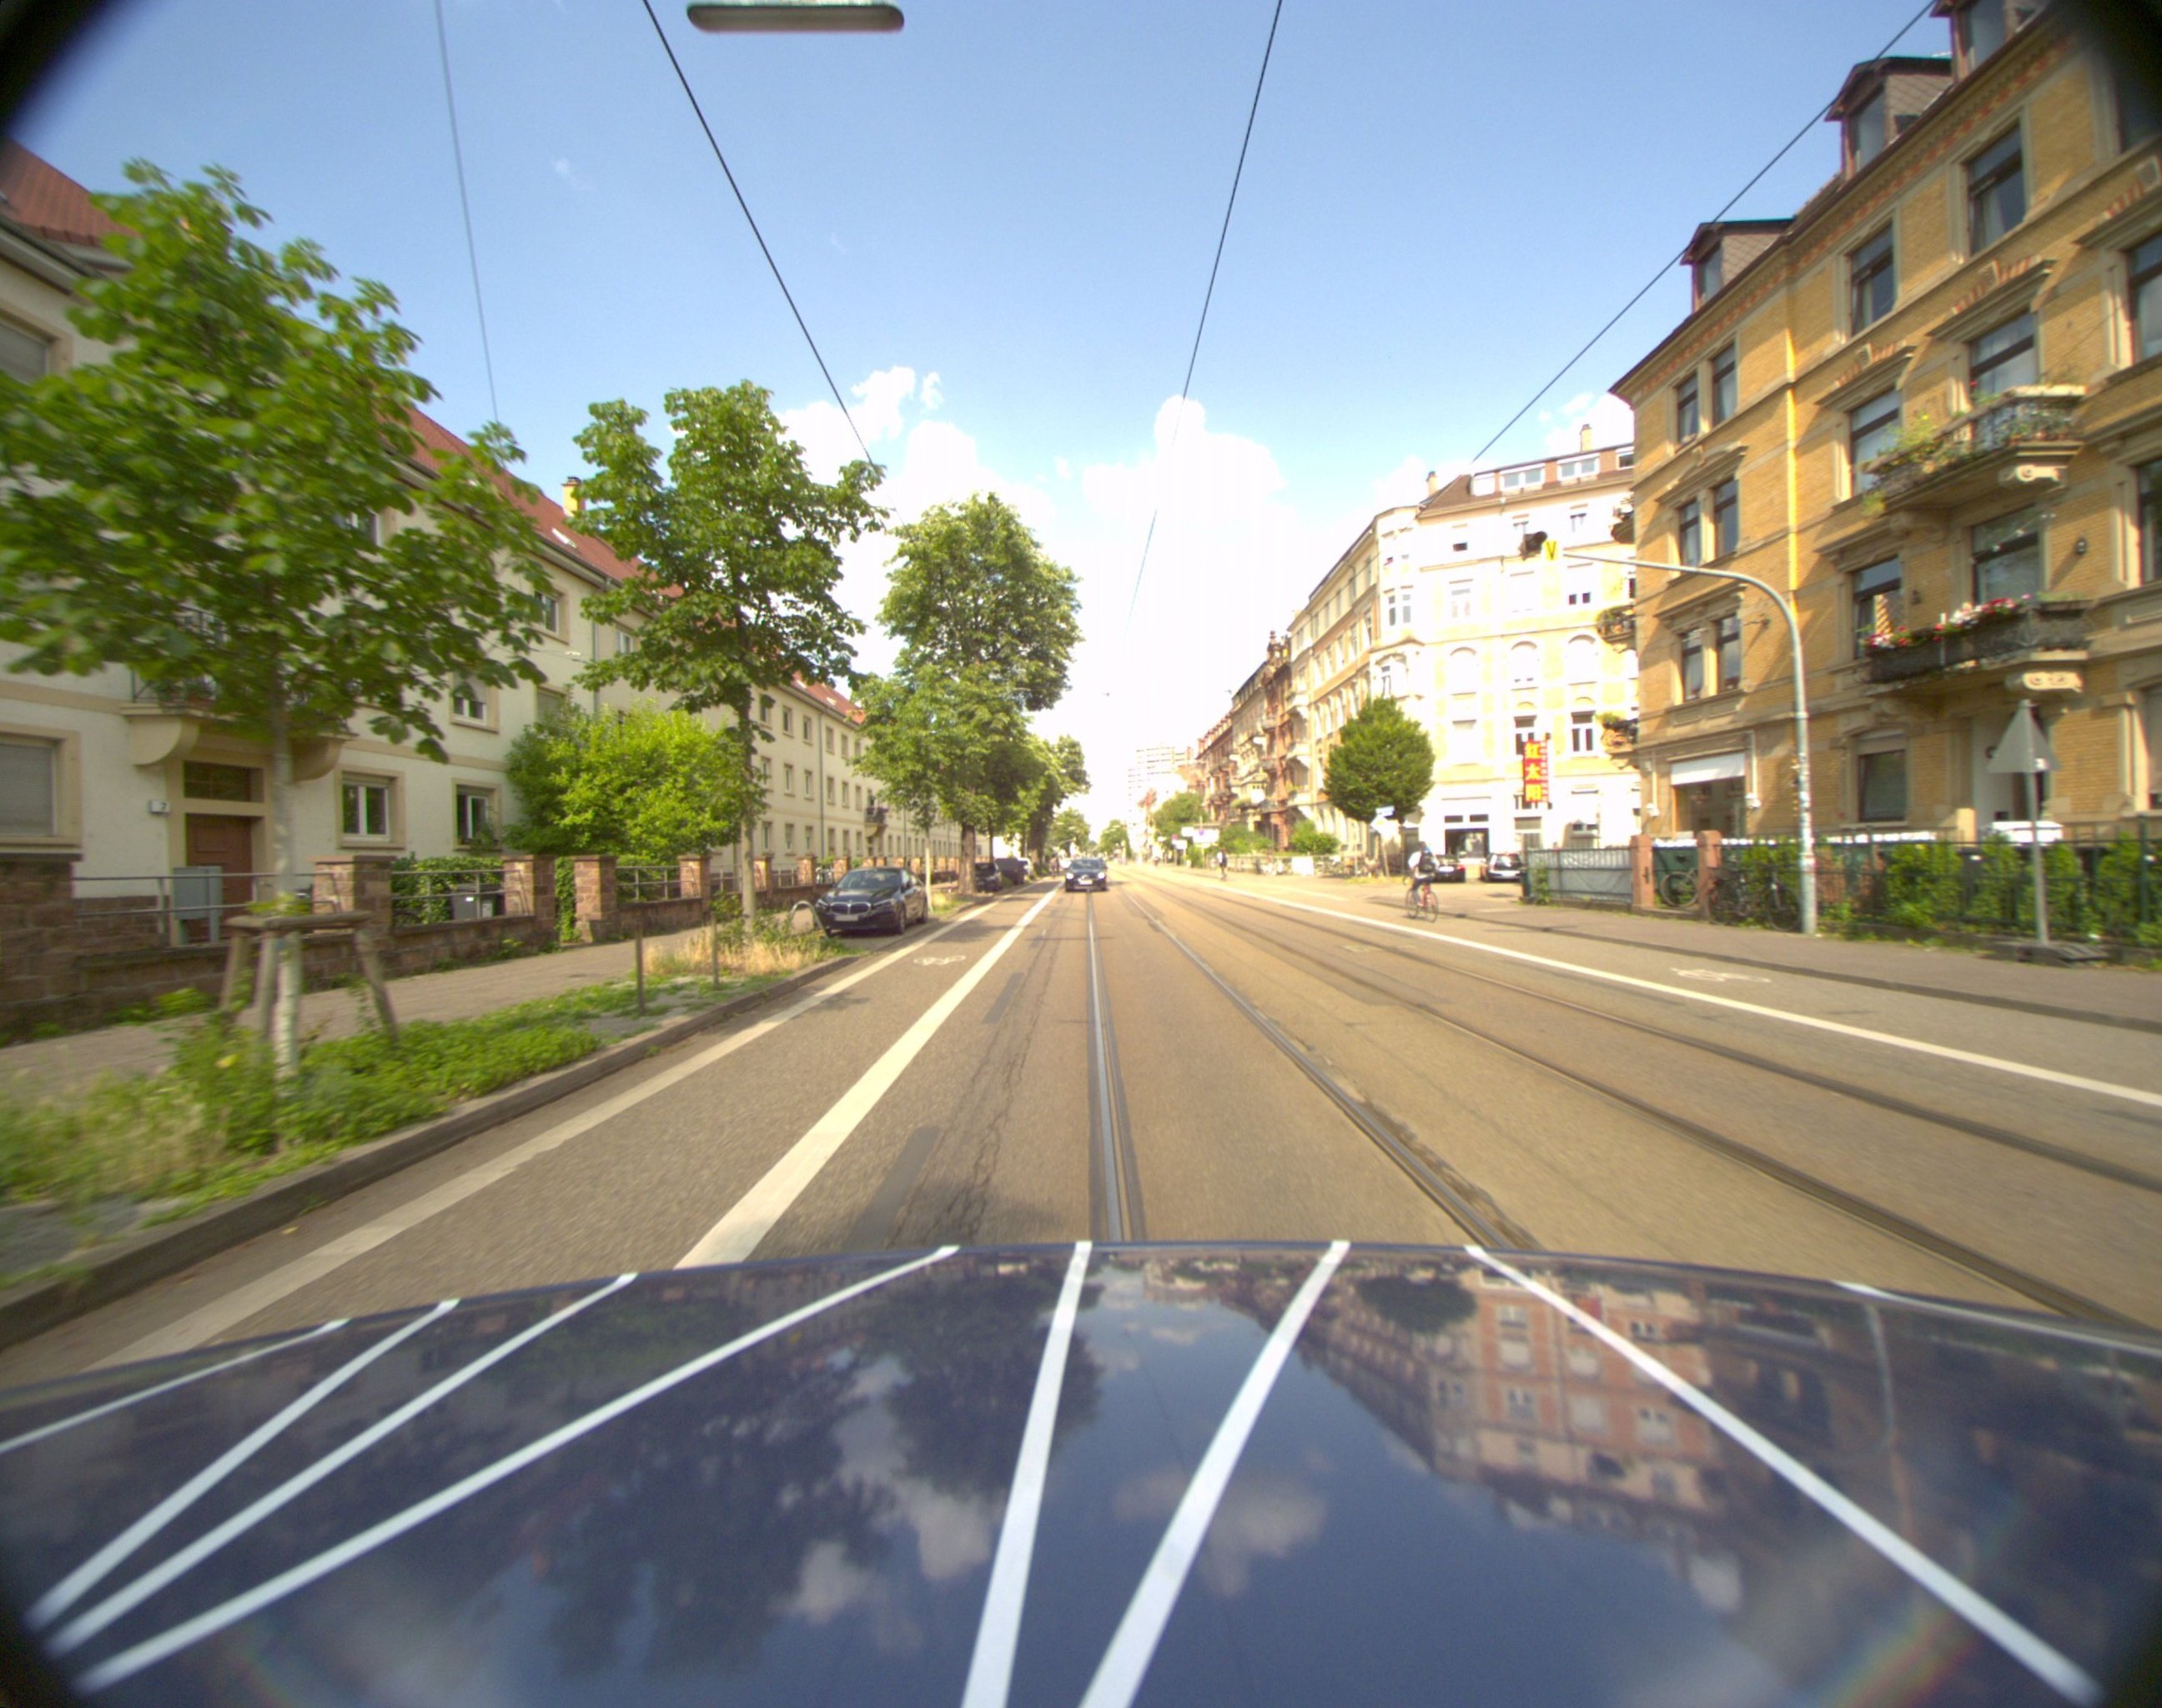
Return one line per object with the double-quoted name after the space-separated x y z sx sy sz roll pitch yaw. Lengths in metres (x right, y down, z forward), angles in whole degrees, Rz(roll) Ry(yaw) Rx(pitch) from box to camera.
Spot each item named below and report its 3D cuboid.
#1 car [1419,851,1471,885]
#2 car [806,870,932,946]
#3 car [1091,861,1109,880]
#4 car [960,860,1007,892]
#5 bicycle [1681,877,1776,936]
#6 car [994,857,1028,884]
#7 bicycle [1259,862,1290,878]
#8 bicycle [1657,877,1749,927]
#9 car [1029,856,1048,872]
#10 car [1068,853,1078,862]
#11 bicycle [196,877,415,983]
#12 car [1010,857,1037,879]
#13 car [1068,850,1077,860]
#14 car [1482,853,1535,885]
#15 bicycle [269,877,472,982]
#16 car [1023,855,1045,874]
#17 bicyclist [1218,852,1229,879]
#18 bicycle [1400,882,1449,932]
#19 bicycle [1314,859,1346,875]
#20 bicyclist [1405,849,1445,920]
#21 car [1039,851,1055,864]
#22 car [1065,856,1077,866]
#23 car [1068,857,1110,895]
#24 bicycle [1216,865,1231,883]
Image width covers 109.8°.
17.544 0.634 36.783 1.778 1.521 3.870 -1 0 18 "car"
-4.607 1.112 17.107 1.693 1.380 4.000 -1 0 0 "car"
1.964 1.677 77.886 1.715 1.718 3.736 -2 1 0 "car"
-4.597 1.020 36.377 1.693 1.380 4.000 -1 0 0 "car"
11.027 0.879 12.999 0.400 0.935 1.473 1 -2 3 "bicycle"
-4.232 0.971 46.264 1.693 1.537 3.617 -1 0 0 "car"
11.674 0.981 45.901 1.750 0.936 0.484 1 1 24 "bicycle"
12.077 0.930 14.768 1.431 0.935 0.401 1 -2 2 "bicycle"
-4.143 0.961 74.656 1.693 1.537 3.460 -1 0 0 "car"
-1.285 0.563 125.898 1.693 1.380 4.000 -1 0 0 "car"
-10.620 0.978 10.564 0.691 1.229 2.233 -1 0 1 "bicycle"
-4.354 1.042 57.974 1.693 1.537 3.775 -1 0 0 "car"
-1.622 0.121 147.558 1.694 1.831 5.028 -1 0 -2 "car"
20.032 0.671 35.767 1.777 1.364 3.871 -1 0 23 "car"
-9.771 0.979 10.609 0.691 1.229 2.233 -1 0 1 "bicycle"
-4.199 0.924 68.059 1.693 1.537 3.460 -1 0 0 "car"
8.145 0.649 43.442 0.477 1.490 0.743 0 1 -2 "bicyclist"
7.376 1.111 16.392 0.607 0.936 1.756 1 1 13 "bicycle"
15.175 0.772 46.325 1.753 0.936 0.483 1 1 -1 "bicycle"
7.348 0.630 16.245 0.614 1.490 0.743 0 1 12 "bicyclist"
-3.982 0.392 88.312 1.693 1.537 3.460 -1 0 0 "car"
-1.421 1.077 113.476 1.693 1.380 4.000 -1 0 0 "car"
0.330 0.927 33.829 1.693 1.568 4.156 -1 0 0 "car"
8.138 1.141 43.484 0.483 0.936 1.754 1 1 -3 "bicycle"
